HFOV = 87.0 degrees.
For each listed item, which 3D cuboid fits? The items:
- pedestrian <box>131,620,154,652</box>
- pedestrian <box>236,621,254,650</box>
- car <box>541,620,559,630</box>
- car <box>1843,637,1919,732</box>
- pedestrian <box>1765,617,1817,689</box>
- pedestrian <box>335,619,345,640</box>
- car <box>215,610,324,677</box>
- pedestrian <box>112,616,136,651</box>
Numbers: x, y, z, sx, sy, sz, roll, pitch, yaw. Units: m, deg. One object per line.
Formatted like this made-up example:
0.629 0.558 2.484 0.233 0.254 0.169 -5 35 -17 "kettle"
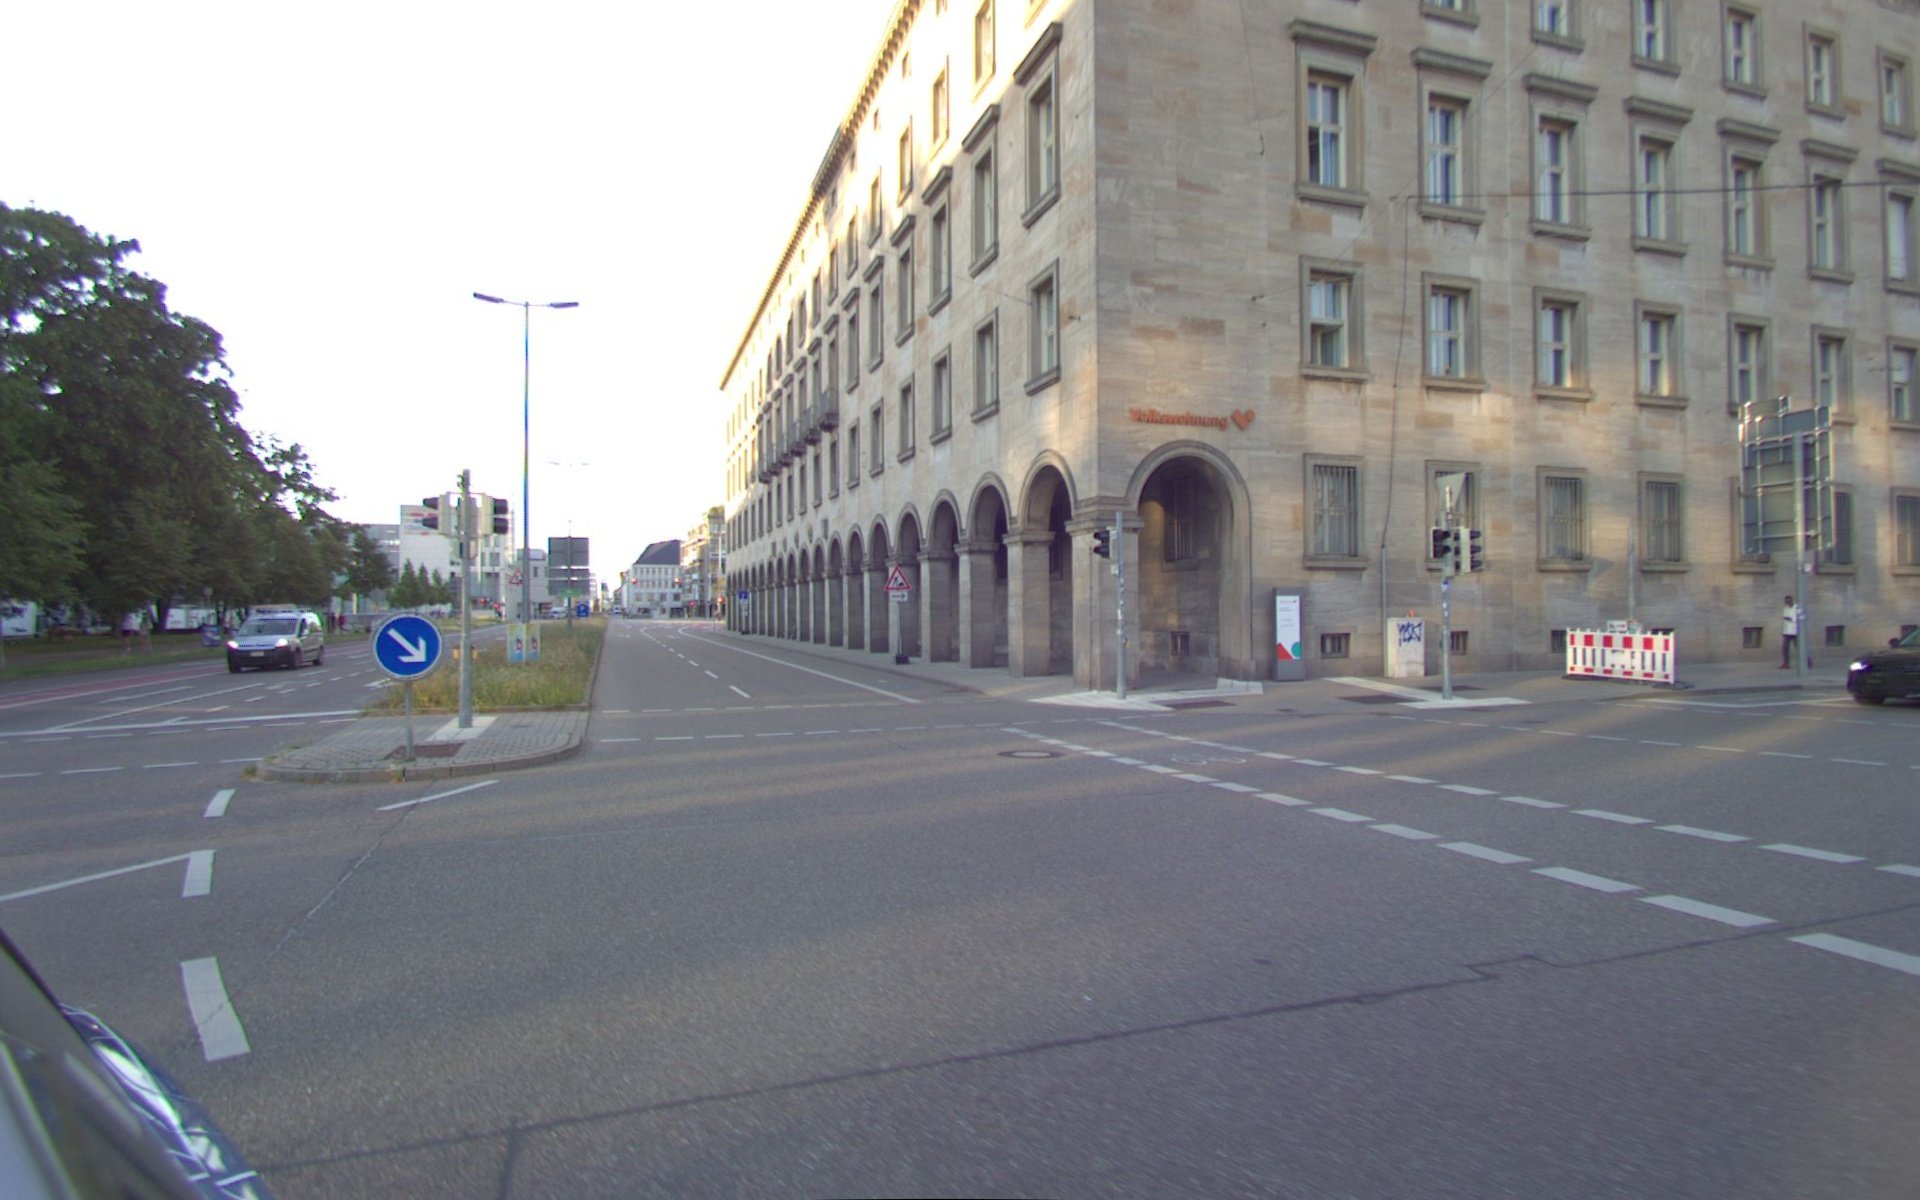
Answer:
-38.707 1.719 47.930 0.666 1.508 0.648 0 -1 -18 "pedestrian"
-41.434 2.030 58.633 0.621 1.675 0.648 0 -1 -15 "pedestrian"
-88.830 5.374 219.369 1.976 2.029 3.992 -5 -2 6 "car"
16.816 1.336 16.606 4.159 1.438 1.653 0 -1 -20 "car"
20.028 1.263 24.411 0.635 1.723 0.700 0 -1 -17 "pedestrian"
-49.341 2.318 80.532 0.621 1.678 0.648 0 -1 -32 "pedestrian"
-21.289 1.291 31.398 1.774 1.926 4.479 0 -1 -21 "car"
-39.446 1.580 47.744 0.635 1.606 0.679 0 -1 -17 "pedestrian"
